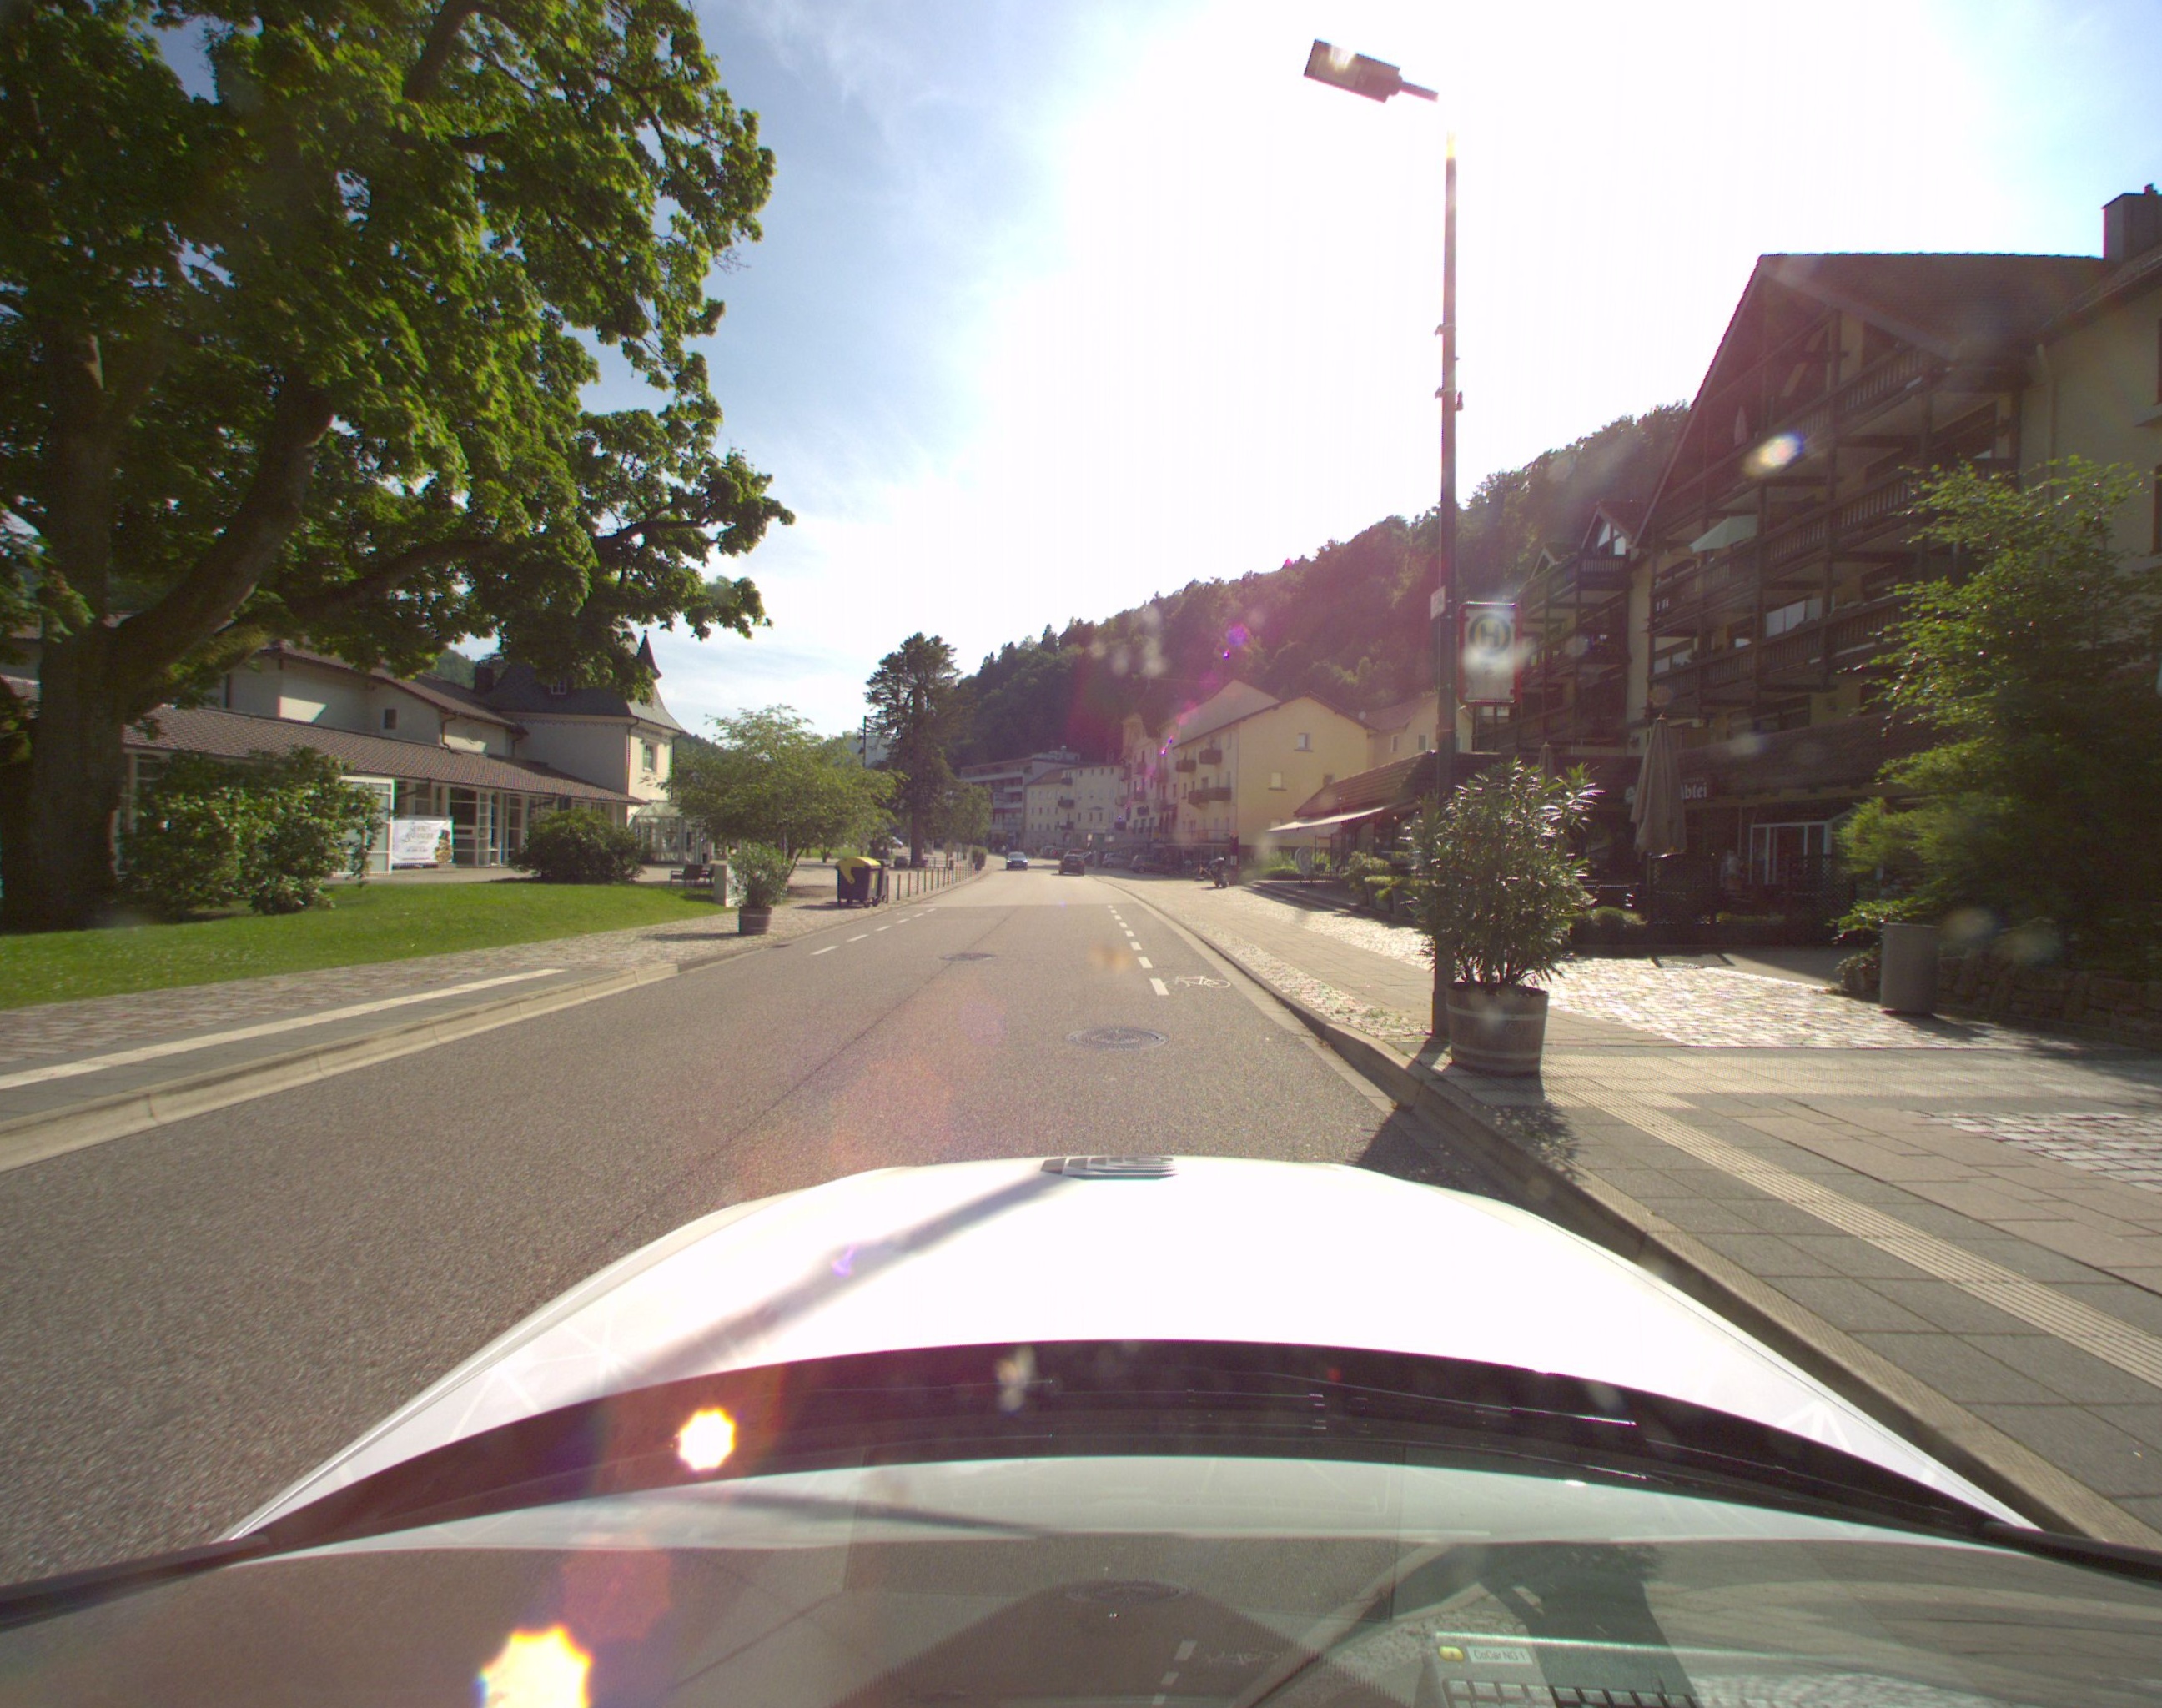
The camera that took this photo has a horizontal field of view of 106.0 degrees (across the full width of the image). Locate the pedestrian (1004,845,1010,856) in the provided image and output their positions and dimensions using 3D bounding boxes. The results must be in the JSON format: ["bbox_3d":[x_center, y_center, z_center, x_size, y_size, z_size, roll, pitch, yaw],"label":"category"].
[{"bbox_3d":[-11.711,-0.557,128.512,0.673,1.728,0.701,2,0,-31],"label":"pedestrian"}]

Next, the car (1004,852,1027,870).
[{"bbox_3d":[-5.501,0.591,69.072,1.737,1.462,4.183,0,0,-2],"label":"car"}]

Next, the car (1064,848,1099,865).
[{"bbox_3d":[0.034,0.290,101.091,4.081,1.666,1.768,5,0,-8],"label":"car"}]

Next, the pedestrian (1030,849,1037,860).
[{"bbox_3d":[-6.452,0.037,111.231,0.740,1.442,0.626,-1,1,-34],"label":"pedestrian"}]

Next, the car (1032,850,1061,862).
[{"bbox_3d":[-5.070,0.283,118.688,3.884,1.612,1.757,-1,3,-29],"label":"car"}]

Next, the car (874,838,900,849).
[{"bbox_3d":[-33.323,-1.776,139.666,4.954,1.953,1.872,1,0,42],"label":"car"}]

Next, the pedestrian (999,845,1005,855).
[{"bbox_3d":[-12.312,-0.649,127.174,0.762,1.593,0.622,2,0,-31],"label":"pedestrian"}]

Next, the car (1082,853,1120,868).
[{"bbox_3d":[2.239,0.712,89.922,3.907,1.461,1.731,4,0,-8],"label":"car"}]

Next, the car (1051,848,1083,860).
[{"bbox_3d":[-1.900,-0.004,112.150,4.033,1.516,1.757,-1,3,-29],"label":"car"}]

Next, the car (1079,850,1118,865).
[{"bbox_3d":[2.047,0.424,96.324,4.351,1.461,1.769,3,-1,-6],"label":"car"}]

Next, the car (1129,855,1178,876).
[{"bbox_3d":[6.263,0.982,70.905,3.860,1.554,1.754,4,0,-11],"label":"car"}]

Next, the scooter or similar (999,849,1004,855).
[{"bbox_3d":[-12.412,-0.348,127.325,0.600,0.950,0.470,2,0,-31],"label":"scooter or similar"}]

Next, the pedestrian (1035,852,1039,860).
[{"bbox_3d":[-5.999,0.270,111.537,0.420,1.002,0.526,0,1,-31],"label":"pedestrian"}]

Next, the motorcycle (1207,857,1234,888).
[{"bbox_3d":[6.114,0.779,35.801,0.695,1.296,2.210,-1,0,-2],"label":"motorcycle"}]

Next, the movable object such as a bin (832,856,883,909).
[{"bbox_3d":[-6.513,0.814,23.814,1.075,1.427,1.376,3,0,-1],"label":"movable object such as a bin"}]

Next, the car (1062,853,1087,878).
[{"bbox_3d":[-0.540,0.840,60.981,1.723,1.574,3.751,3,2,-2],"label":"car"}]

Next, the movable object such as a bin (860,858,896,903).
[{"bbox_3d":[-6.411,0.828,25.748,0.753,1.341,1.294,3,0,-1],"label":"movable object such as a bin"}]

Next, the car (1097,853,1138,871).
[{"bbox_3d":[3.793,0.830,84.545,3.907,1.589,1.770,4,0,-8],"label":"car"}]
